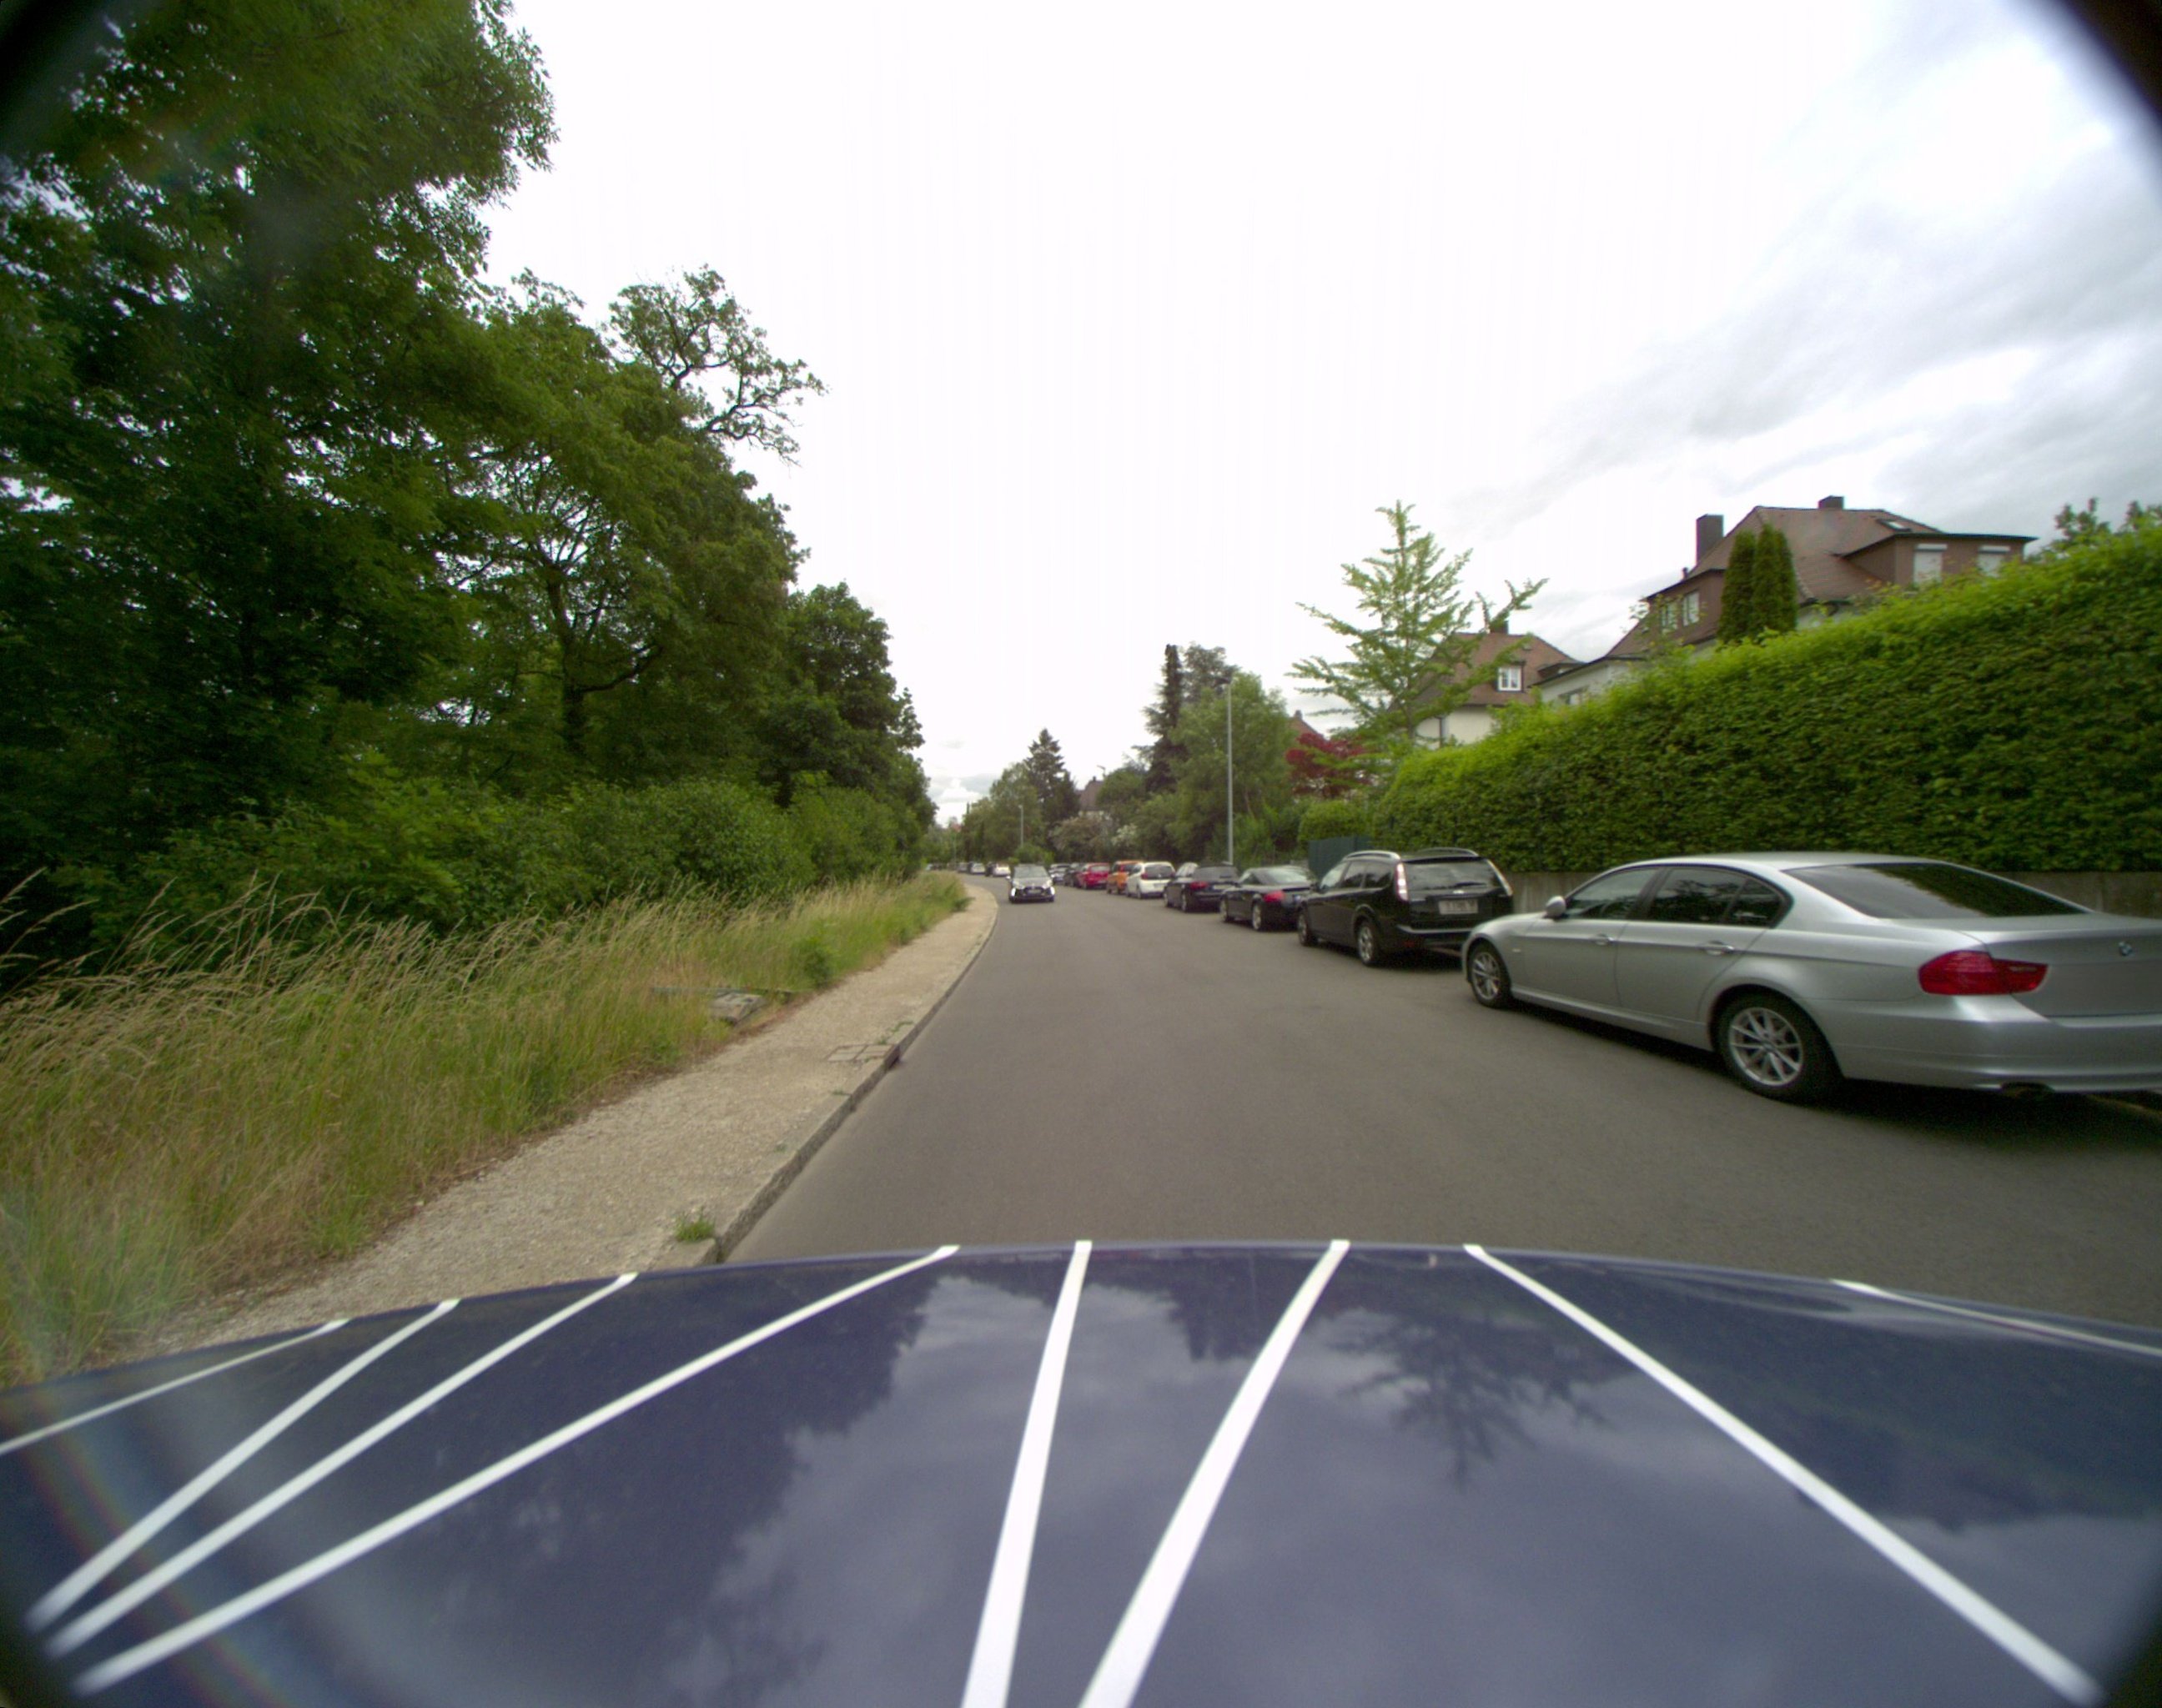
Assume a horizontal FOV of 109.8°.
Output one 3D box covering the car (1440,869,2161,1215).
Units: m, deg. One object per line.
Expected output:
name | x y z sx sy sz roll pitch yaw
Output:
car | 4.631 0.855 5.493 1.780 1.366 4.339 -2 0 -3

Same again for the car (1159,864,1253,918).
car | 3.622 1.037 22.887 1.723 1.376 4.661 -1 0 -4

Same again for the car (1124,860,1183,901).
car | 2.867 1.028 30.780 1.593 1.505 3.588 -1 0 -7

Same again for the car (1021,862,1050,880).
car | -3.964 1.437 65.613 1.713 1.408 4.127 -1 0 -14

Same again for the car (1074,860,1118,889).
car | 0.798 1.145 43.025 1.712 1.505 4.360 -1 0 -9

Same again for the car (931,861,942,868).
car | -34.401 2.540 181.136 1.925 1.670 4.188 -1 0 -18

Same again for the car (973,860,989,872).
car | -13.538 1.642 103.088 1.713 1.502 4.549 -1 0 -12

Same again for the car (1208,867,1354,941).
car | 4.217 0.995 16.713 1.716 1.333 4.105 -2 0 -6

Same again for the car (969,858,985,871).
car | -14.940 1.478 108.930 1.713 1.789 4.293 -1 0 -13

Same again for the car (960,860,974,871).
car | -18.223 1.800 121.365 1.802 1.597 4.724 -1 0 -14

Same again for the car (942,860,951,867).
car | -30.351 2.110 171.342 1.924 1.670 4.190 -1 0 -13

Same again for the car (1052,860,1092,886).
car | -0.623 1.155 47.867 1.713 1.505 4.491 -1 0 -11

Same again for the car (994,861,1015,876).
car | -8.459 1.561 83.839 1.713 1.502 3.941 -1 0 -14

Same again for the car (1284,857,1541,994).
car | 4.460 0.841 11.077 1.661 1.524 4.473 -2 0 -1

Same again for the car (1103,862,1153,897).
car | 2.143 1.139 35.536 1.549 1.505 3.641 -1 0 -9

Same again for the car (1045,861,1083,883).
car | -1.226 1.230 52.749 1.713 1.402 4.155 -1 0 -14

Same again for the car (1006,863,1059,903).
car | -2.043 1.122 31.038 1.712 1.466 4.191 -1 0 -9

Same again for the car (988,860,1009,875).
car | -9.565 1.514 88.021 1.798 1.654 4.386 -1 0 -14
